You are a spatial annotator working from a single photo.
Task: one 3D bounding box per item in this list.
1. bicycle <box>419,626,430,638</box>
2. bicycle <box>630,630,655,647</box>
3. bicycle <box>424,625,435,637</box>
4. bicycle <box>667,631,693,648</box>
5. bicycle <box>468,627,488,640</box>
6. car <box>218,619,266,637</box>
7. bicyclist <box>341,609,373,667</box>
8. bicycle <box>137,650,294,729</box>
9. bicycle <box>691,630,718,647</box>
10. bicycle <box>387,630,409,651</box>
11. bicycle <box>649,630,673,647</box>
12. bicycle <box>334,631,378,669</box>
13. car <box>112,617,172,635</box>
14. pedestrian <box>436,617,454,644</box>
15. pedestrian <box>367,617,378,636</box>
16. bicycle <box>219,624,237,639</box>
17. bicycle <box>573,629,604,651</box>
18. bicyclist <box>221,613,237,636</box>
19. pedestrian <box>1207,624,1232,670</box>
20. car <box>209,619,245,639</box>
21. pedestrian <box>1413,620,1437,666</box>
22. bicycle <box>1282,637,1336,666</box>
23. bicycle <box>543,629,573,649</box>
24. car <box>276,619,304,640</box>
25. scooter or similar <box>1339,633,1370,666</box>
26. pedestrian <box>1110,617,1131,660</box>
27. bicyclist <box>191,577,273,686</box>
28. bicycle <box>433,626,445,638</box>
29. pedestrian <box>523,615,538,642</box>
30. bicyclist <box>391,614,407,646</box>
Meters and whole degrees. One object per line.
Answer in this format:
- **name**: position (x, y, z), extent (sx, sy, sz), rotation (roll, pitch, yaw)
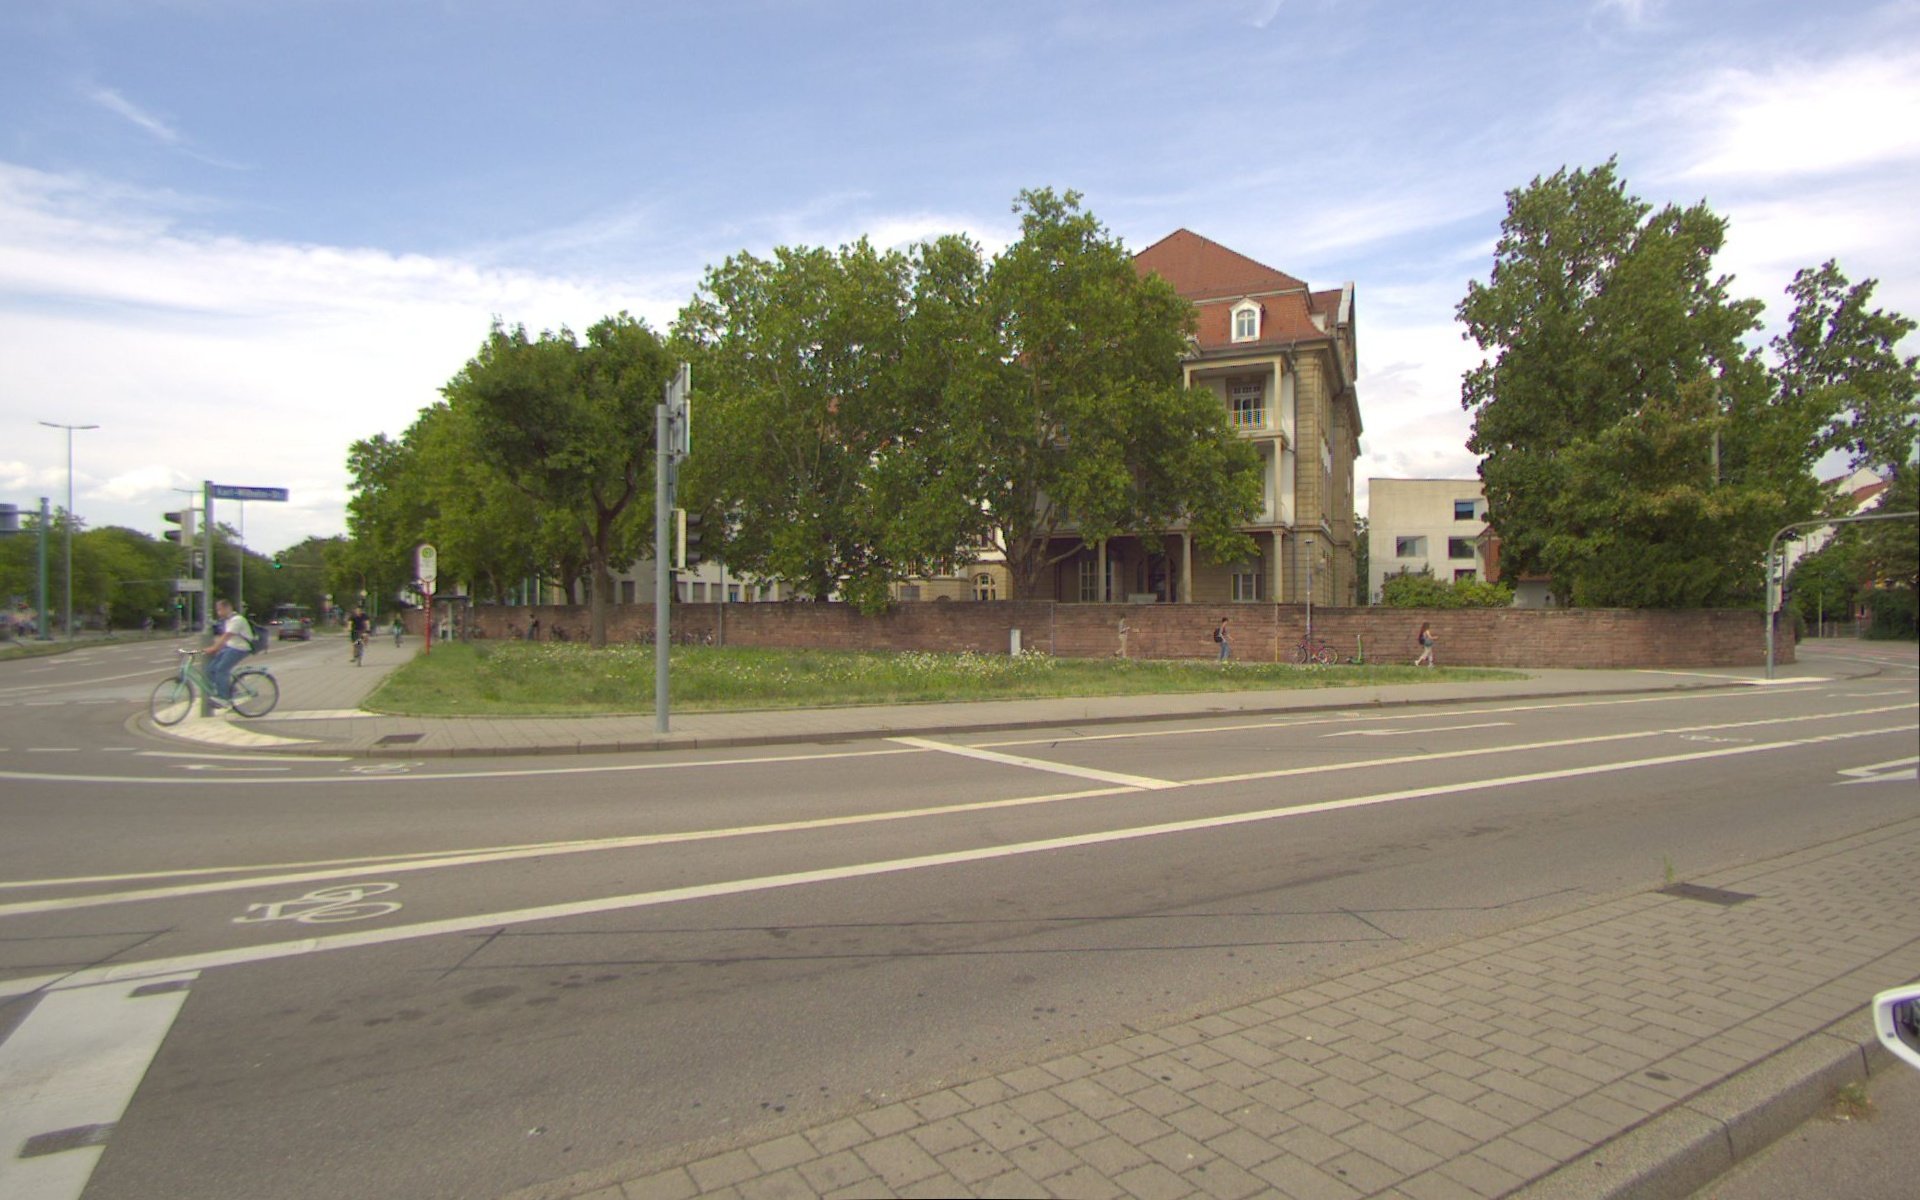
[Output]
- **bicycle**: position (-43.489, 2.593, 81.554), extent (0.429, 0.899, 1.558), rotation (-4, 1, -39)
- **bicycle**: position (-17.497, 2.113, 55.271), extent (1.794, 0.875, 0.357), rotation (-1, -3, 39)
- **bicycle**: position (-42.308, 2.474, 80.101), extent (0.429, 0.899, 1.558), rotation (-4, 1, -39)
- **bicycle**: position (-14.736, 2.052, 52.851), extent (1.864, 0.875, 0.357), rotation (-1, -4, 43)
- **bicycle**: position (-33.316, 2.316, 69.464), extent (1.554, 0.899, 0.658), rotation (-2, 1, 42)
- **car**: position (-65.871, 2.565, 92.111), extent (4.052, 1.509, 1.789), rotation (1, -1, 25)
- **bicyclist**: position (-17.013, 1.064, 28.355), extent (0.570, 1.576, 0.795), rotation (0, 1, -14)
- **bicycle**: position (-10.927, 1.277, 14.828), extent (0.496, 0.948, 1.972), rotation (1, 1, 15)
- **bicycle**: position (-13.286, 2.016, 52.214), extent (1.681, 0.875, 0.357), rotation (-1, -3, 36)
- **bicycle**: position (-28.377, 2.034, 50.758), extent (0.497, 0.948, 1.965), rotation (0, 1, -14)
- **bicycle**: position (-16.104, 2.082, 54.104), extent (1.783, 0.875, 0.357), rotation (-1, -3, 42)
- **bicycle**: position (-17.005, 1.397, 28.321), extent (0.497, 0.948, 1.965), rotation (0, 1, -14)
- **car**: position (-76.112, 2.400, 93.480), extent (4.048, 1.509, 1.791), rotation (2, -1, 2)
- **pedestrian**: position (-32.102, 1.894, 62.590), extent (0.655, 1.643, 0.751), rotation (-1, 1, 38)
- **pedestrian**: position (-52.497, 2.359, 89.715), extent (0.747, 1.643, 0.659), rotation (-2, 1, -34)
- **bicycle**: position (-58.293, 2.525, 80.005), extent (0.749, 1.204, 2.085), rotation (2, -3, -26)
- **bicycle**: position (-21.554, 2.312, 58.219), extent (2.067, 1.204, 0.755), rotation (-1, -3, 40)
- **bicyclist**: position (-58.239, 1.952, 79.989), extent (0.768, 1.733, 1.079), rotation (2, -3, -26)
- **pedestrian**: position (9.661, 1.744, 37.461), extent (0.766, 1.677, 0.577), rotation (-1, 1, 2)
- **car**: position (-60.701, 2.413, 83.234), extent (1.768, 1.509, 4.100), rotation (2, -2, -28)
- **pedestrian**: position (17.270, 1.588, 37.325), extent (0.617, 1.677, 0.532), rotation (-1, 1, 5)
- **bicycle**: position (13.252, 1.949, 38.183), extent (1.888, 1.018, 0.779), rotation (-1, 1, 17)
- **bicycle**: position (-24.340, 2.351, 60.766), extent (2.067, 1.204, 0.755), rotation (-1, -3, 40)
- **car**: position (-51.130, 2.246, 76.630), extent (1.683, 1.500, 4.374), rotation (-2, 0, -34)
- **scooter or similar**: position (14.883, 1.863, 37.871), extent (0.513, 1.154, 1.509), rotation (-1, 1, 45)
- **pedestrian**: position (6.315, 1.511, 39.529), extent (0.766, 1.677, 0.577), rotation (-1, 1, 7)
- **bicyclist**: position (-10.868, 0.455, 15.009), extent (0.568, 1.576, 0.798), rotation (1, 1, 15)
- **bicycle**: position (-39.983, 2.428, 77.054), extent (0.429, 0.899, 1.558), rotation (-4, 1, -39)
- **pedestrian**: position (-26.853, 1.759, 62.778), extent (0.743, 1.643, 0.566), rotation (-1, 1, 40)
- **bicyclist**: position (-28.381, 1.520, 50.791), extent (0.486, 1.576, 0.795), rotation (0, 1, -14)
